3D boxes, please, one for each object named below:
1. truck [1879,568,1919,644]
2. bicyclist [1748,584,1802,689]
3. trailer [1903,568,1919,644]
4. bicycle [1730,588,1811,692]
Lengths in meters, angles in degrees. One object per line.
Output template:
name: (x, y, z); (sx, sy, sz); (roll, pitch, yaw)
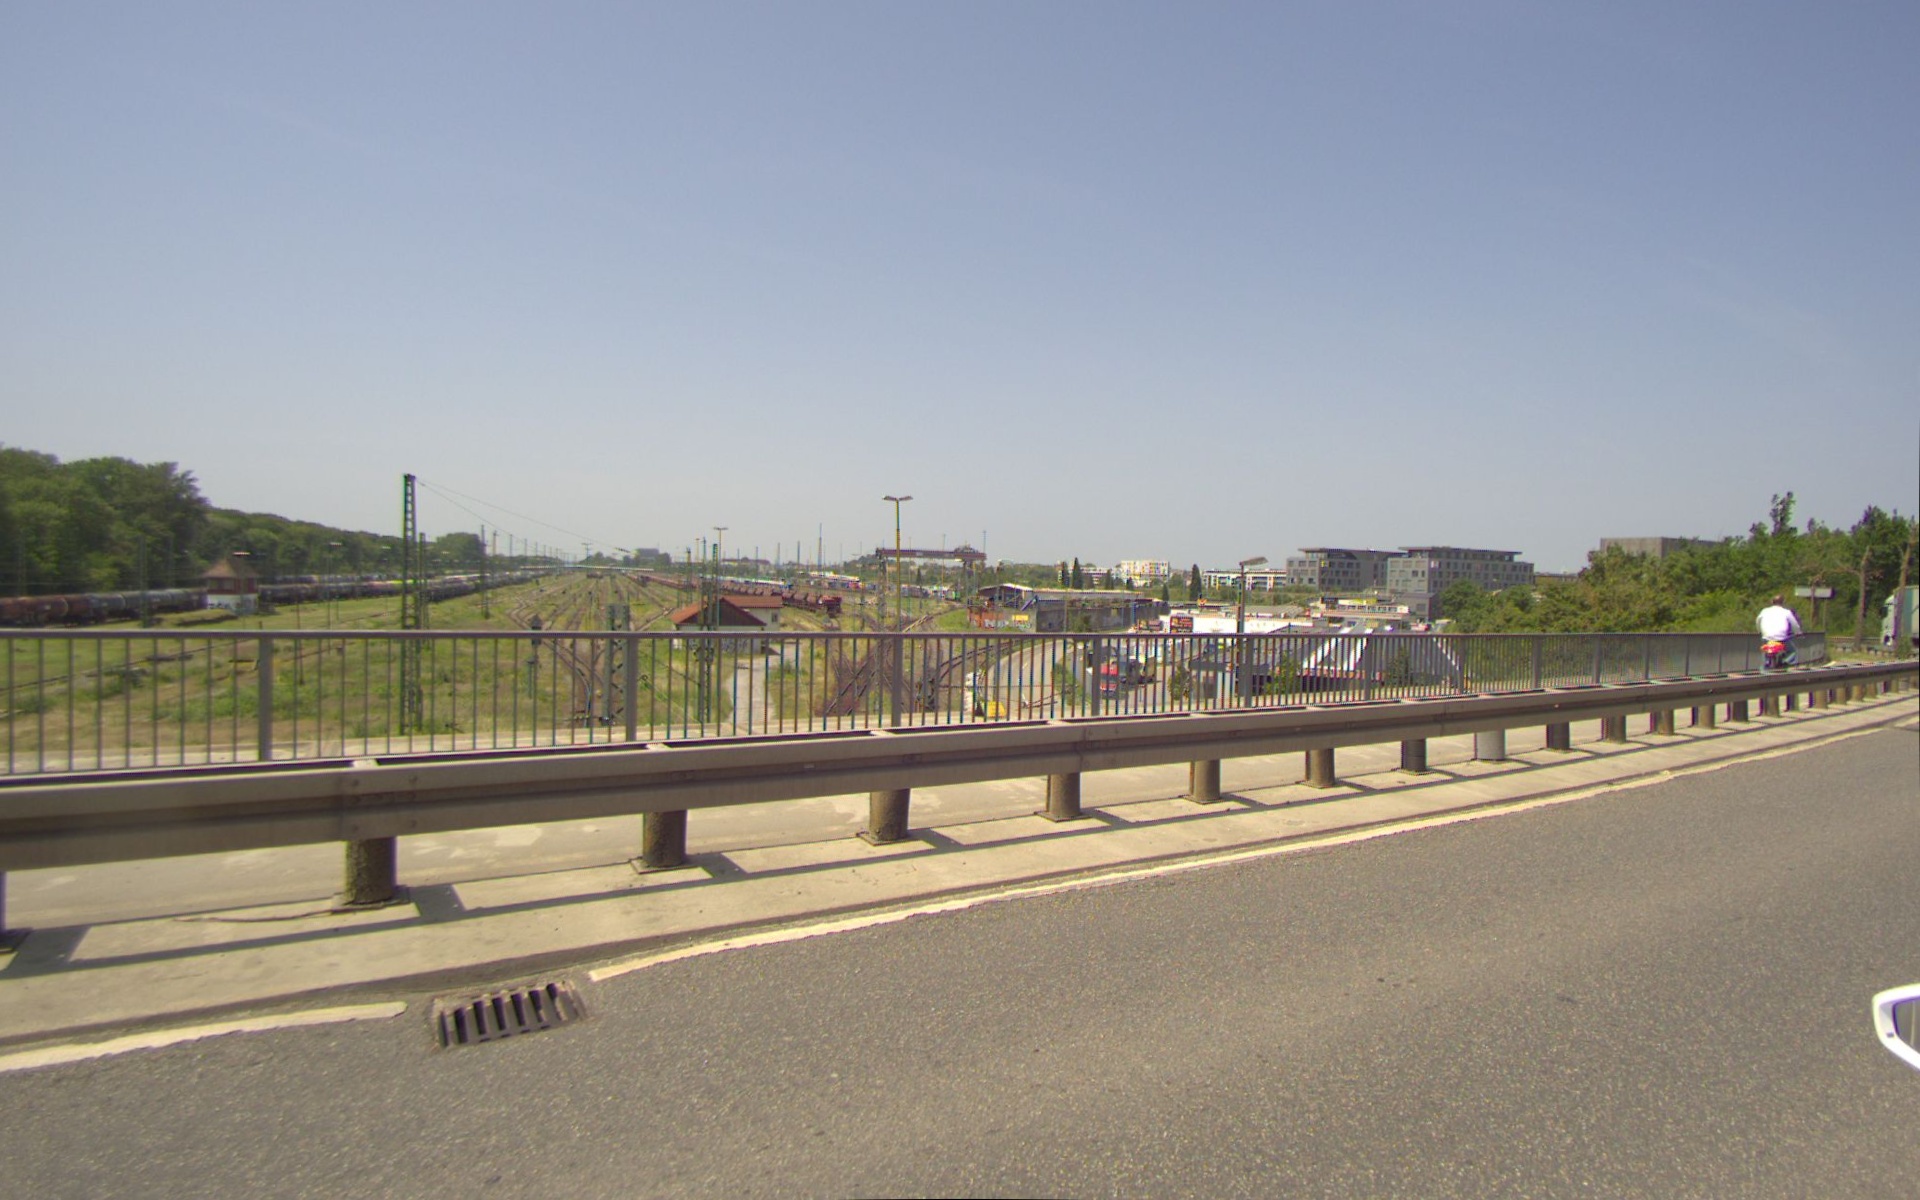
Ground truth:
truck: (59.736, 0.344, 61.625); (3.520, 4.500, 6.502); (1, 0, 30)
bicyclist: (15.195, 0.667, 18.736); (0.706, 1.911, 0.619); (0, 1, -37)
trailer: (56.110, 0.368, 55.477); (3.519, 4.443, 11.413); (1, 0, 31)
bicycle: (15.031, 0.707, 18.606); (2.161, 1.826, 0.692); (0, 1, -38)
